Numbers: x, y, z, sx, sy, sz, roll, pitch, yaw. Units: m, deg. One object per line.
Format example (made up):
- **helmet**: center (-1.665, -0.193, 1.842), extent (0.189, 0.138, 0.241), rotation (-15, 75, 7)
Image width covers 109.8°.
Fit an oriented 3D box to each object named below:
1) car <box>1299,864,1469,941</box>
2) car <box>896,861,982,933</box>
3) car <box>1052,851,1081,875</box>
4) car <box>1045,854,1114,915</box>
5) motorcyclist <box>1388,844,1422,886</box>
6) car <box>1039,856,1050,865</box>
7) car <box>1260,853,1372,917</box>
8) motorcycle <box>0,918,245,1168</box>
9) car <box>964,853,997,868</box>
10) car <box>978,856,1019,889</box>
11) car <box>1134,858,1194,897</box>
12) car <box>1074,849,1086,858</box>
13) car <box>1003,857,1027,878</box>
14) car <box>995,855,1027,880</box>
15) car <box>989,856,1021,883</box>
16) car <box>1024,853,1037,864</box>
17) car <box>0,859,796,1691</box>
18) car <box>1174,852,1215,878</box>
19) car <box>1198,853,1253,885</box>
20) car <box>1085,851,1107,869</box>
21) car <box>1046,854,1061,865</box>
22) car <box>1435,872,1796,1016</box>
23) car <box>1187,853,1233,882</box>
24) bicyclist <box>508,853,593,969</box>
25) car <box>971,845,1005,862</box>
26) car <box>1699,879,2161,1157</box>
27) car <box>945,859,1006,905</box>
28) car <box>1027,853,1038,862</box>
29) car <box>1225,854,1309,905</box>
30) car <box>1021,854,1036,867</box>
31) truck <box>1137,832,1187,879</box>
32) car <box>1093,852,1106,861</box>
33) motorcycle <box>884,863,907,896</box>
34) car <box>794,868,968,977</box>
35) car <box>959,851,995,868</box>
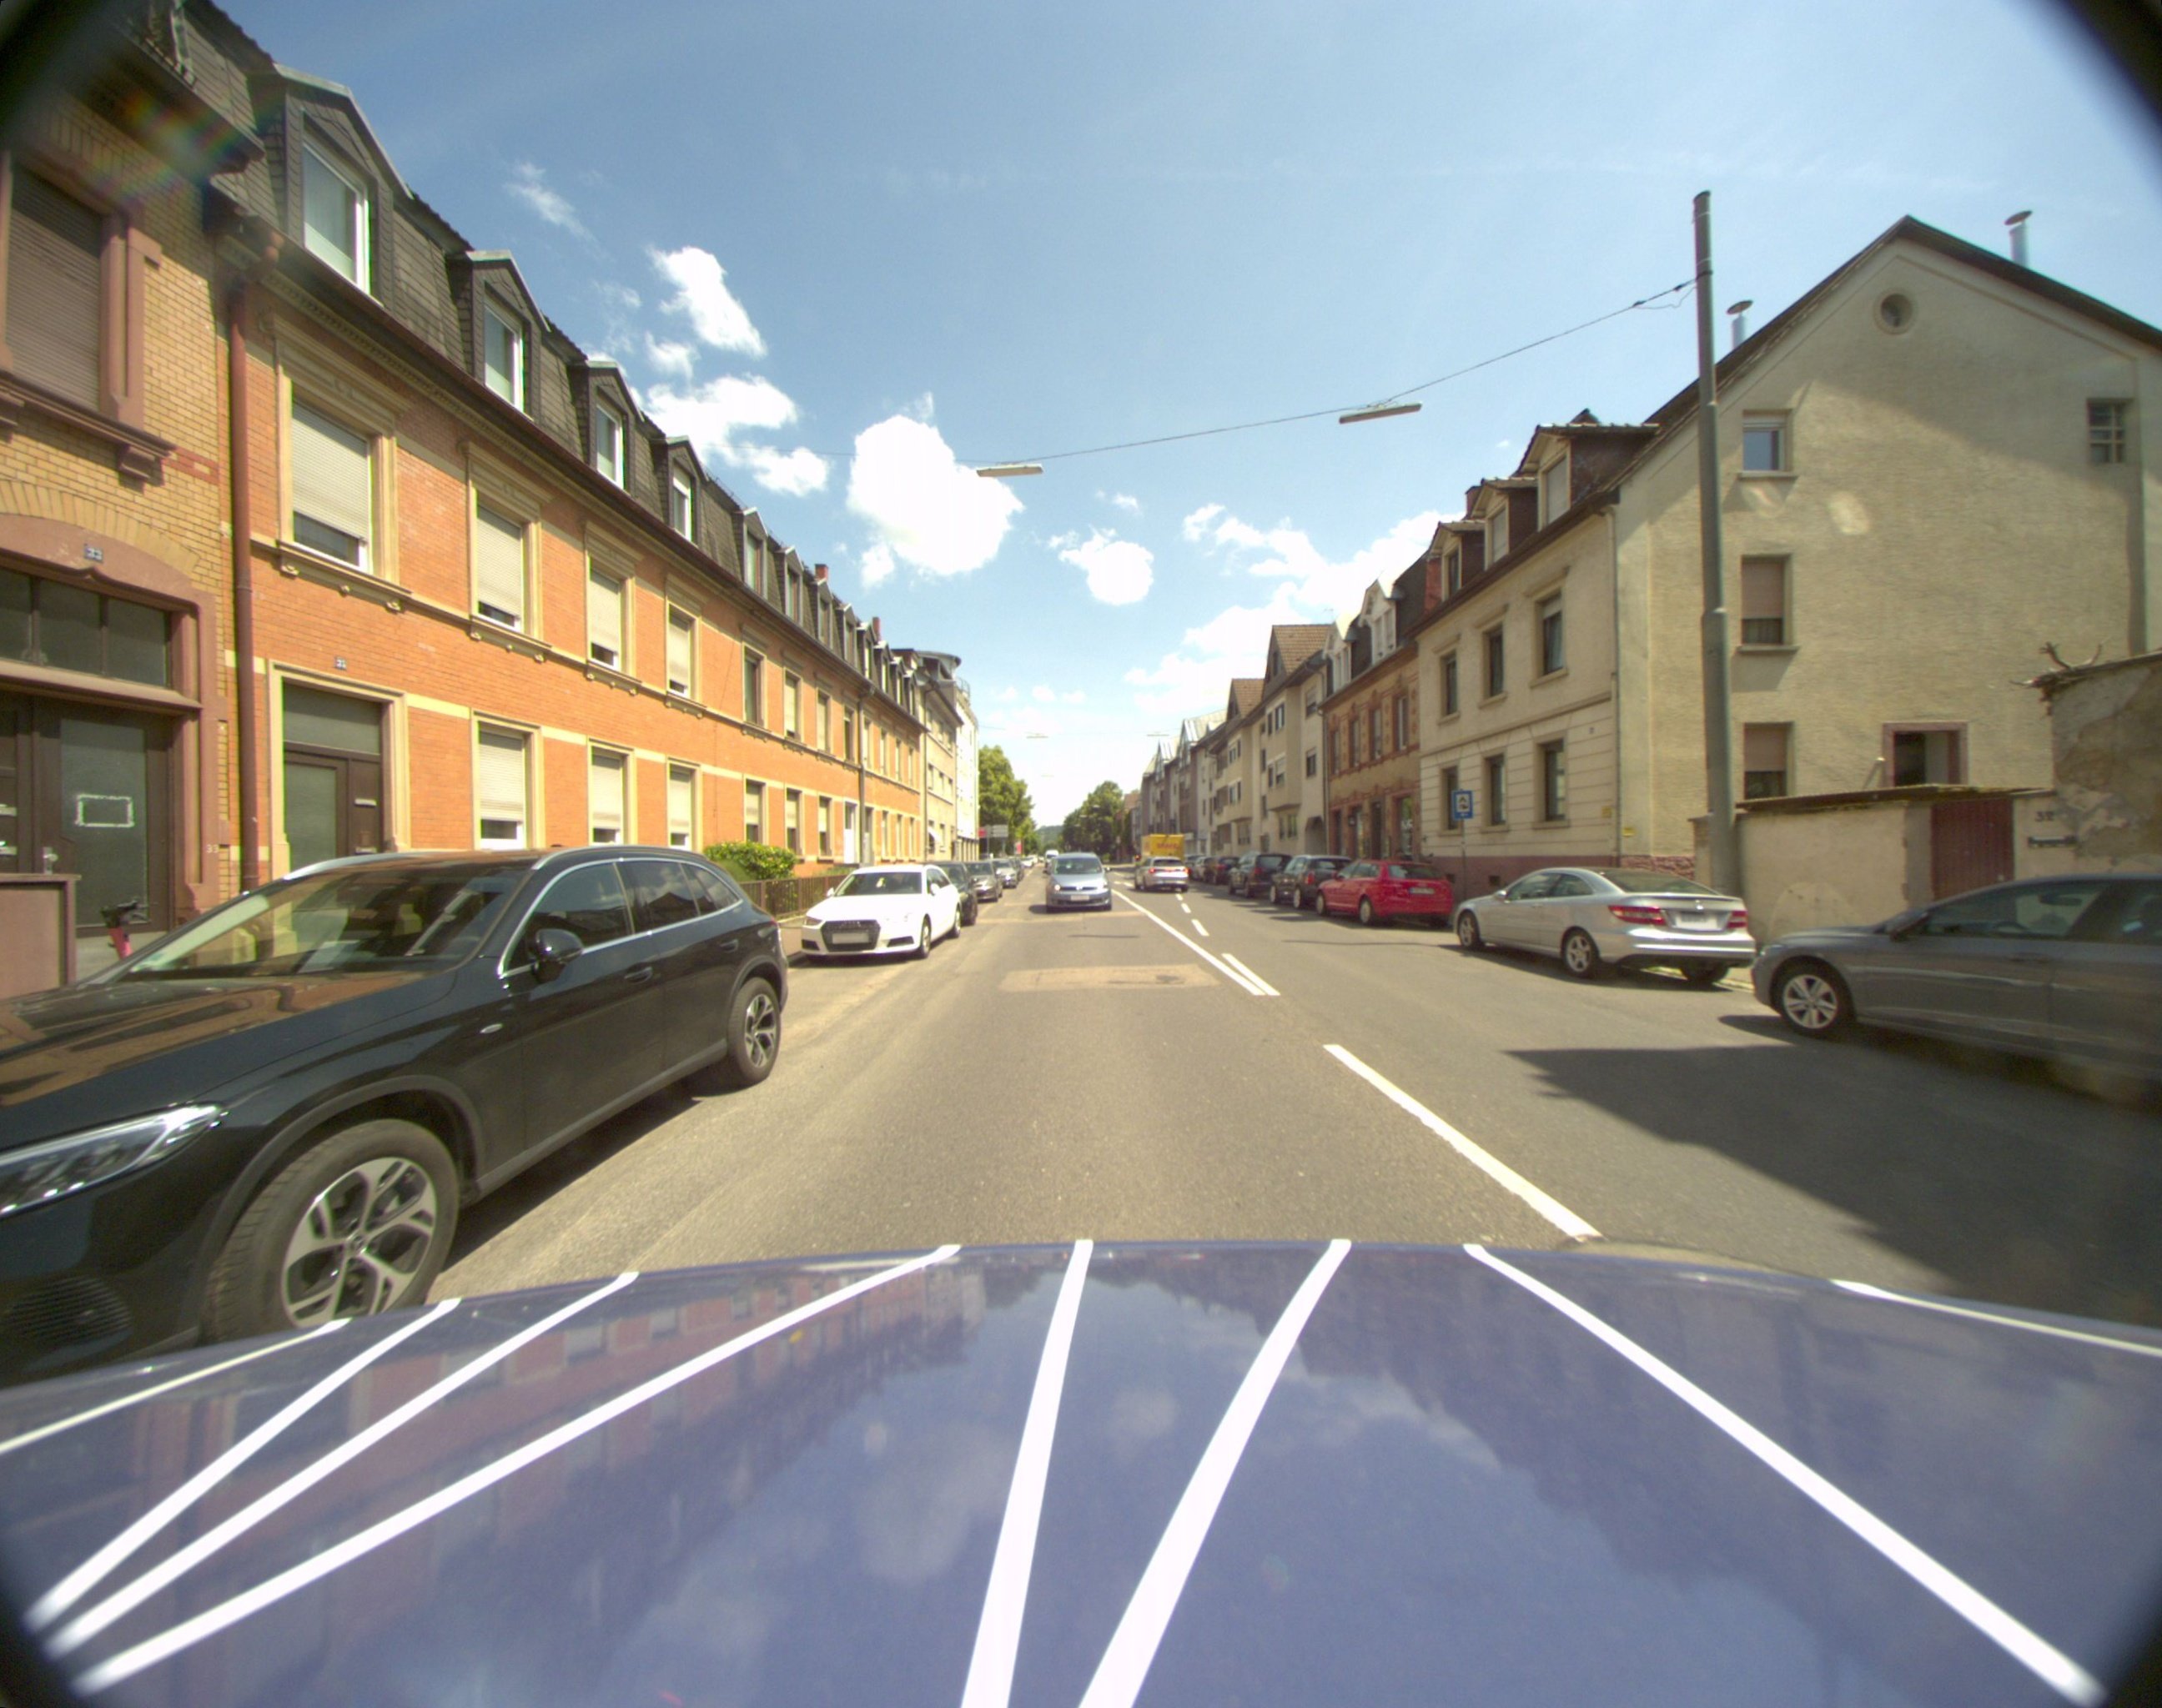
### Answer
- **car**: center (6.732, 1.001, 17.494), extent (1.845, 1.414, 4.500), rotation (2, 0, -4)
- **car**: center (-3.326, 0.948, 18.496), extent (1.653, 1.406, 4.498), rotation (-1, 1, -6)
- **car**: center (-0.996, 0.609, 54.594), extent (1.998, 1.652, 4.624), rotation (0, 1, 0)
- **car**: center (-0.136, 0.781, 21.688), extent (1.747, 1.513, 4.221), rotation (-1, 0, -3)
- **motorcyclist**: center (9.699, 0.327, 22.767), extent (0.720, 1.241, 0.712), rotation (-1, 1, -1)
- **car**: center (-6.600, 1.098, 136.577), extent (1.868, 1.516, 4.207), rotation (-1, 0, -2)
- **car**: center (6.845, 0.835, 22.658), extent (1.844, 1.587, 4.501), rotation (3, 1, -1)
- **motorcycle**: center (-6.001, 1.062, 4.575), extent (0.441, 1.230, 1.358), rotation (1, 0, 0)
- **car**: center (-11.934, 0.756, 90.155), extent (3.775, 1.657, 1.662), rotation (0, 1, -7)
- **car**: center (-4.120, 0.860, 37.329), extent (1.859, 1.455, 4.547), rotation (-2, 1, -8)
- **car**: center (3.323, 0.911, 31.007), extent (1.795, 1.412, 4.313), rotation (0, 0, -2)
- **car**: center (-0.157, -0.139, 139.374), extent (1.817, 1.611, 4.440), rotation (1, 0, -4)
- **car**: center (-4.959, 0.979, 57.510), extent (1.682, 1.446, 4.141), rotation (-2, 0, -4)
- **car**: center (-4.413, 0.823, 48.324), extent (1.716, 1.464, 4.437), rotation (-1, 0, -2)
- **car**: center (-4.219, 0.841, 42.664), extent (1.656, 1.412, 4.046), rotation (-1, 0, -5)
- **car**: center (-7.173, 0.650, 108.294), extent (1.668, 1.420, 3.999), rotation (-1, 0, -2)
- **car**: center (-3.222, 0.885, 3.568), extent (1.998, 1.652, 4.624), rotation (0, 1, 0)
- **car**: center (7.629, 0.713, 51.601), extent (1.845, 1.586, 4.385), rotation (-3, 1, -3)
- **car**: center (7.642, 0.766, 40.595), extent (1.845, 1.479, 4.500), rotation (-3, 1, -3)
- **car**: center (1.253, 0.461, 64.262), extent (1.501, 1.451, 2.720), rotation (0, 1, -7)
- **car**: center (-3.450, 0.672, 95.783), extent (1.721, 1.406, 4.589), rotation (0, 0, 0)
- **car**: center (7.018, 1.060, 10.730), extent (1.844, 1.414, 4.501), rotation (1, 1, -1)
- **car**: center (7.671, 0.766, 45.626), extent (1.844, 1.479, 4.385), rotation (-3, 1, -2)
- **bicyclist**: center (-6.963, 0.727, 10.007), extent (0.534, 1.461, 0.791), rotation (0, 1, 1)
- **car**: center (-13.657, -0.104, 111.741), extent (4.615, 2.263, 2.105), rotation (-3, 1, -2)
- **car**: center (6.963, 1.032, 5.049), extent (1.845, 1.414, 4.501), rotation (4, 1, -2)
- **car**: center (-3.615, 0.917, 26.743), extent (1.705, 1.372, 4.165), rotation (-1, 1, -3)
- **car**: center (-8.199, 0.583, 129.573), extent (1.721, 1.434, 4.110), rotation (-2, 0, -2)
- **car**: center (6.623, 0.851, 27.549), extent (1.844, 1.587, 4.501), rotation (1, 1, -1)
- **car**: center (-6.473, 0.775, 92.797), extent (1.772, 1.476, 3.889), rotation (-1, 1, -5)
- **truck**: center (5.116, 0.066, 49.274), extent (2.231, 2.755, 7.562), rotation (1, 0, -1)
- **car**: center (3.234, 0.425, 134.161), extent (1.891, 1.531, 4.566), rotation (0, 0, -5)
- **motorcycle**: center (-7.354, 1.001, 30.157), extent (0.597, 1.218, 1.361), rotation (-1, 1, -1)
- **car**: center (-3.143, 0.998, 12.929), extent (1.721, 1.406, 4.589), rotation (0, 0, 0)
- **car**: center (-11.964, 0.632, 87.501), extent (3.998, 1.741, 2.015), rotation (-1, 1, -4)
